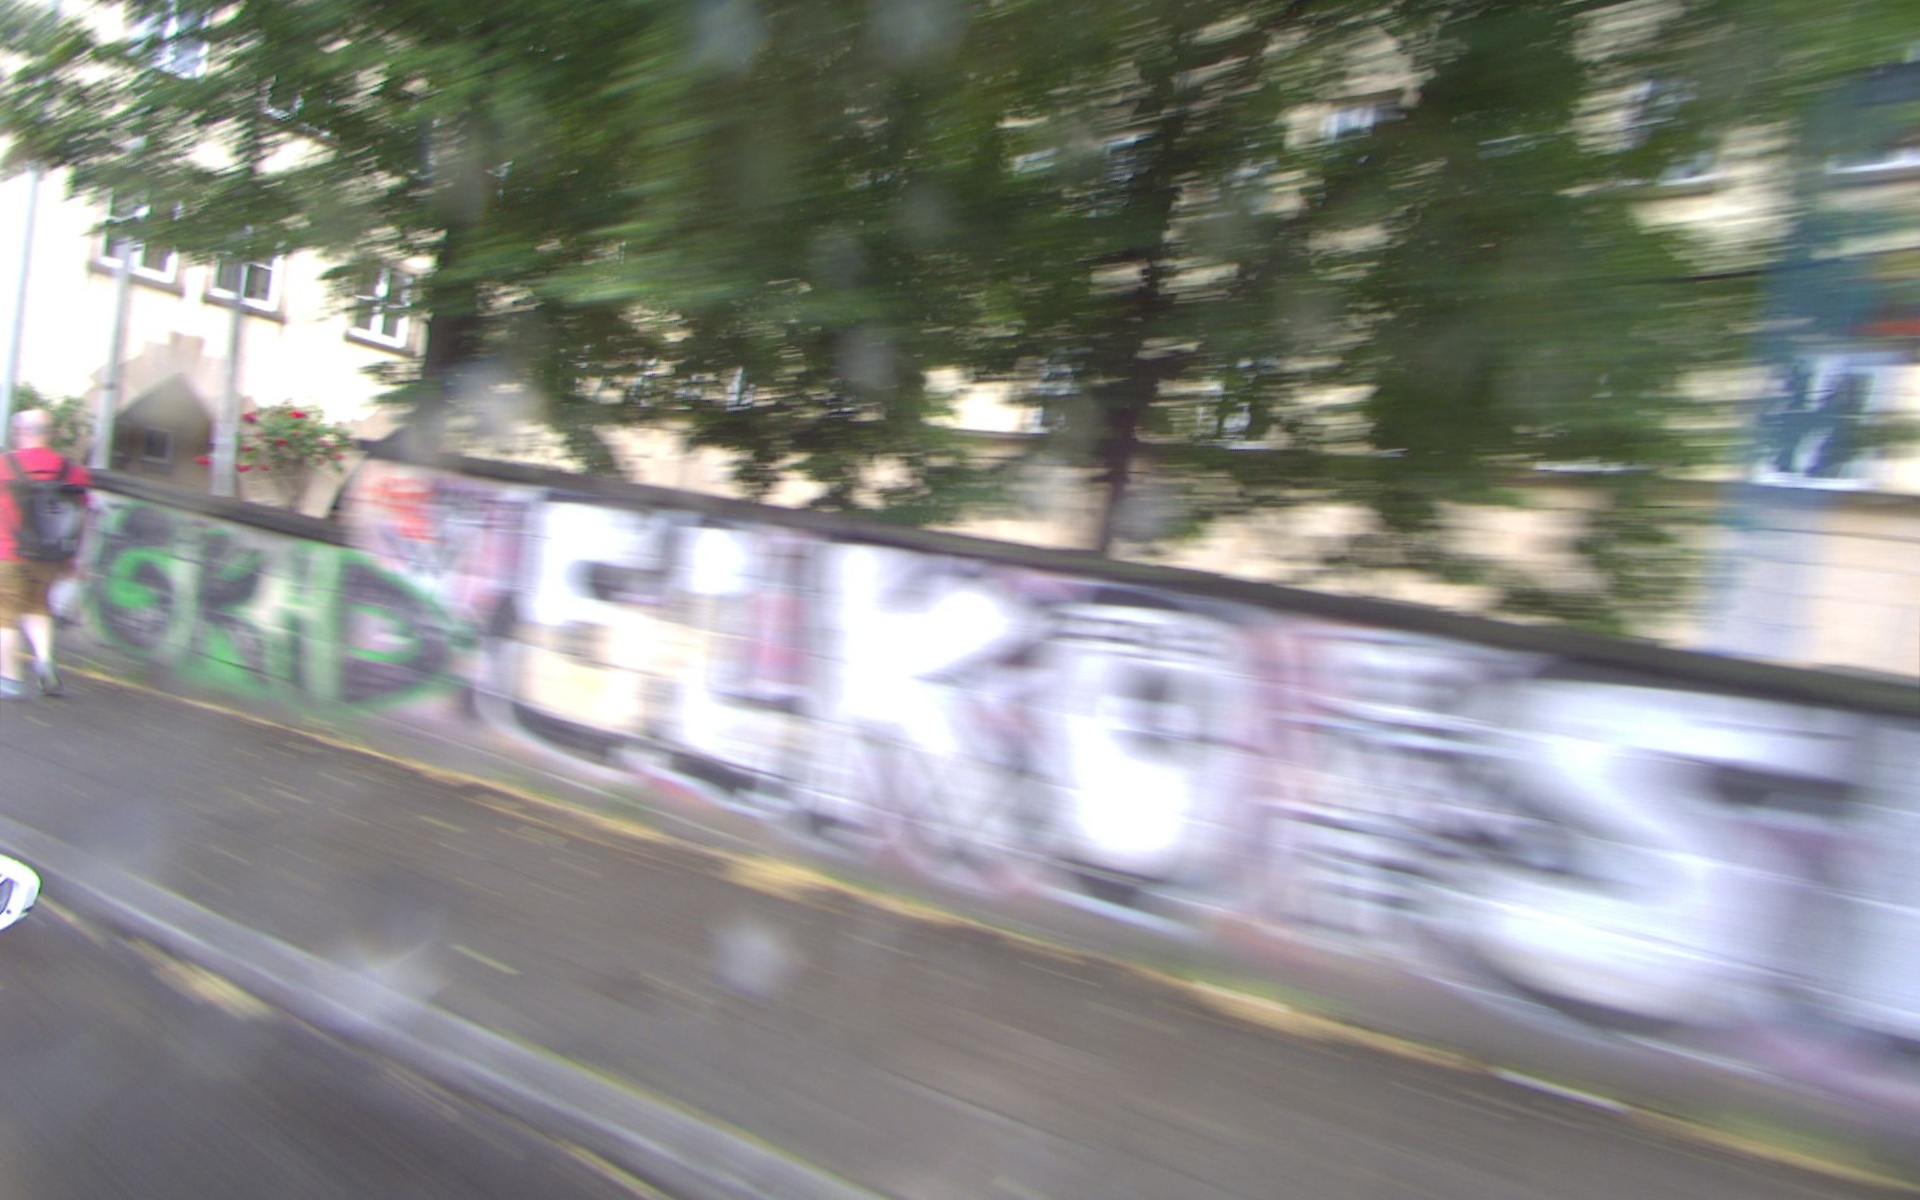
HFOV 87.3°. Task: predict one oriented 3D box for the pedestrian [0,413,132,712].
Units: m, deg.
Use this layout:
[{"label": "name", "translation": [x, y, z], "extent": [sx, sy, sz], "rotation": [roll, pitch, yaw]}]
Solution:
[{"label": "pedestrian", "translation": [-5.786, -0.235, 6.271], "extent": [0.698, 1.743, 0.633], "rotation": [8, 2, 27]}]
